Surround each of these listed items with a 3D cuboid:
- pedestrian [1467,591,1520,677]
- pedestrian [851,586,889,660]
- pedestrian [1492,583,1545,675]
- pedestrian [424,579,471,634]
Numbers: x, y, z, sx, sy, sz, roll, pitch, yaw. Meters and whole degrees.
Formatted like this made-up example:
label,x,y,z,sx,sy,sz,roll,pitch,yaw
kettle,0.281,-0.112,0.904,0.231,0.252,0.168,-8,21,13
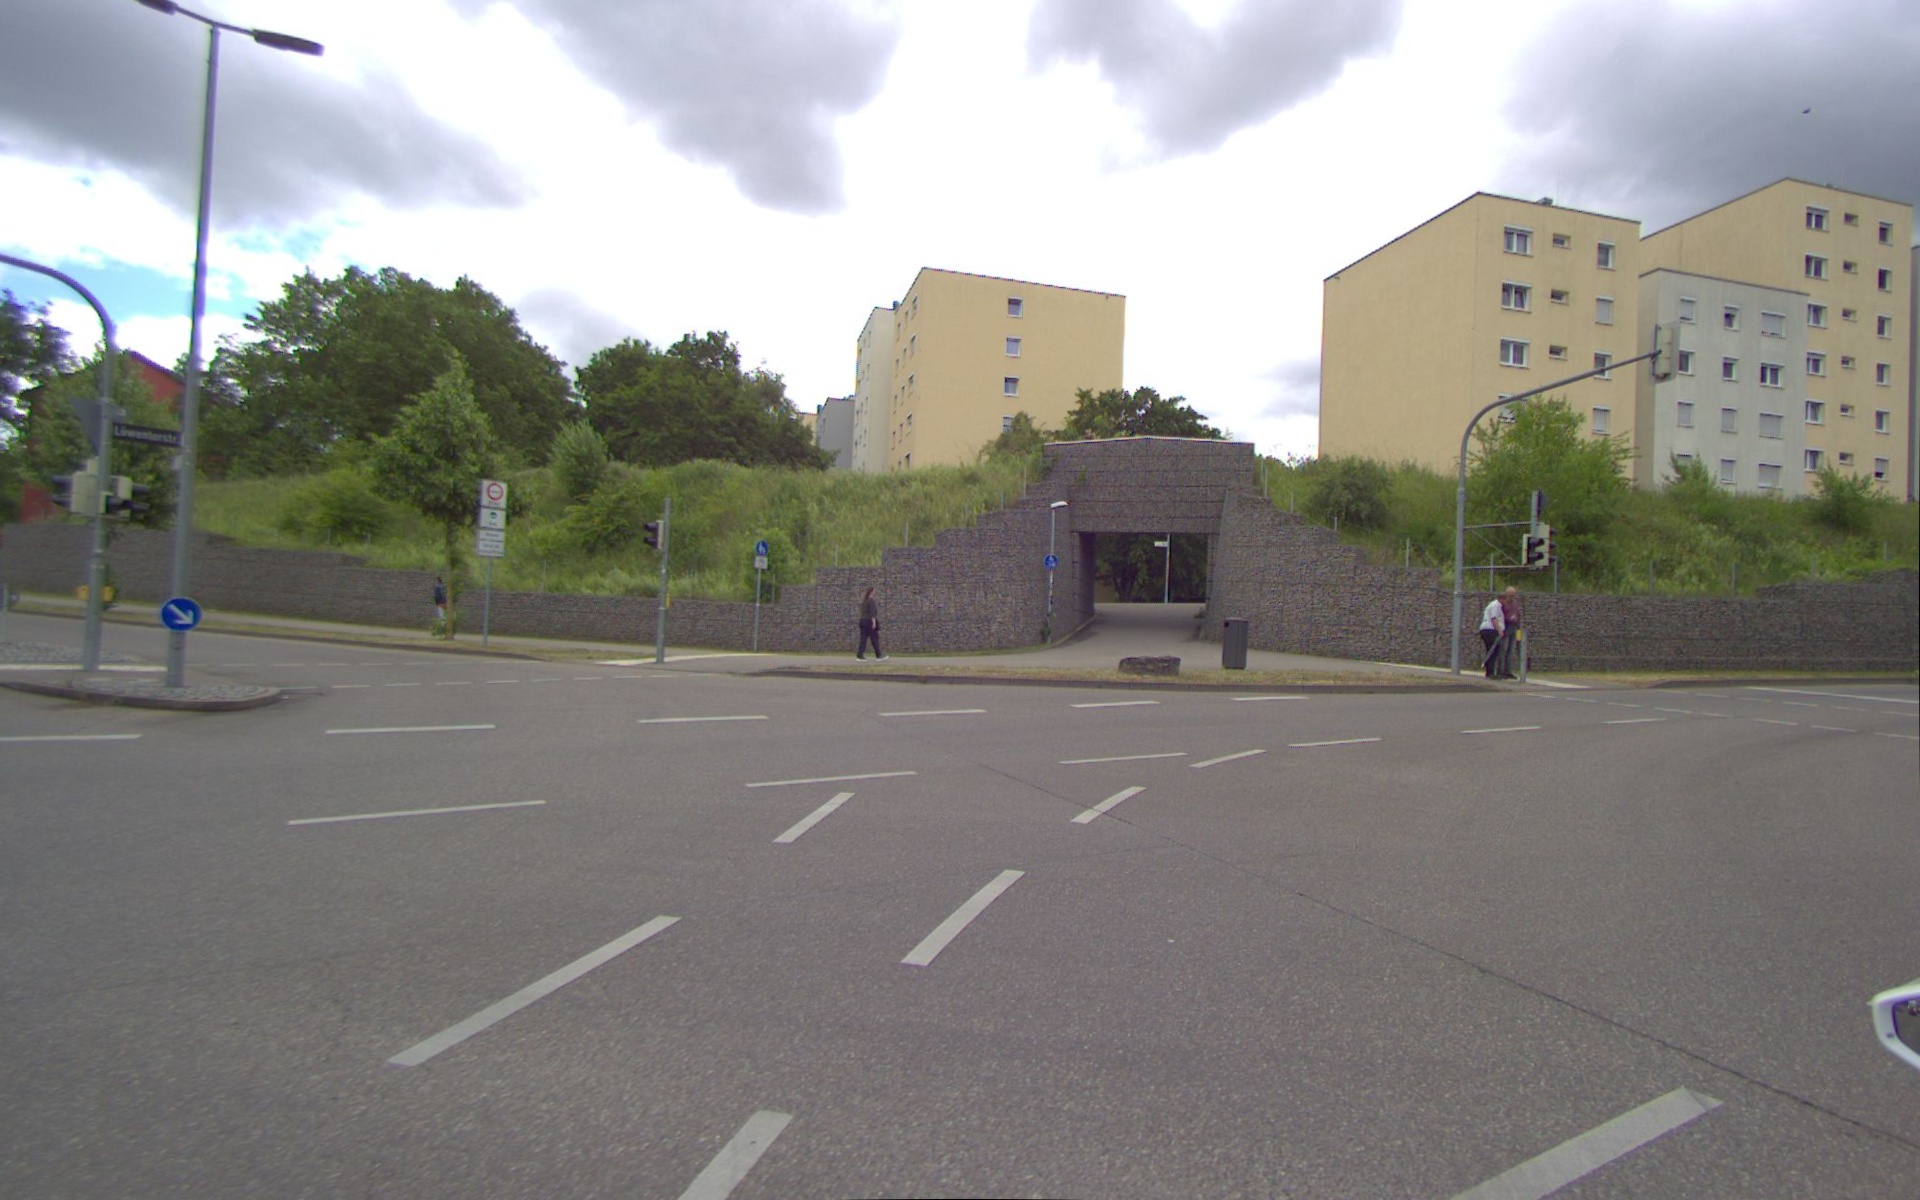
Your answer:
label,x,y,z,sx,sy,sz,roll,pitch,yaw
pedestrian,10.829,0.674,20.398,0.655,1.701,0.621,2,0,-19
pedestrian,-1.964,0.492,21.866,0.615,1.578,0.577,2,0,-23
pedestrian,11.476,0.596,20.664,0.656,1.852,0.621,2,0,-21
pedestrian,-15.105,0.188,29.604,0.884,1.578,0.801,2,0,24
